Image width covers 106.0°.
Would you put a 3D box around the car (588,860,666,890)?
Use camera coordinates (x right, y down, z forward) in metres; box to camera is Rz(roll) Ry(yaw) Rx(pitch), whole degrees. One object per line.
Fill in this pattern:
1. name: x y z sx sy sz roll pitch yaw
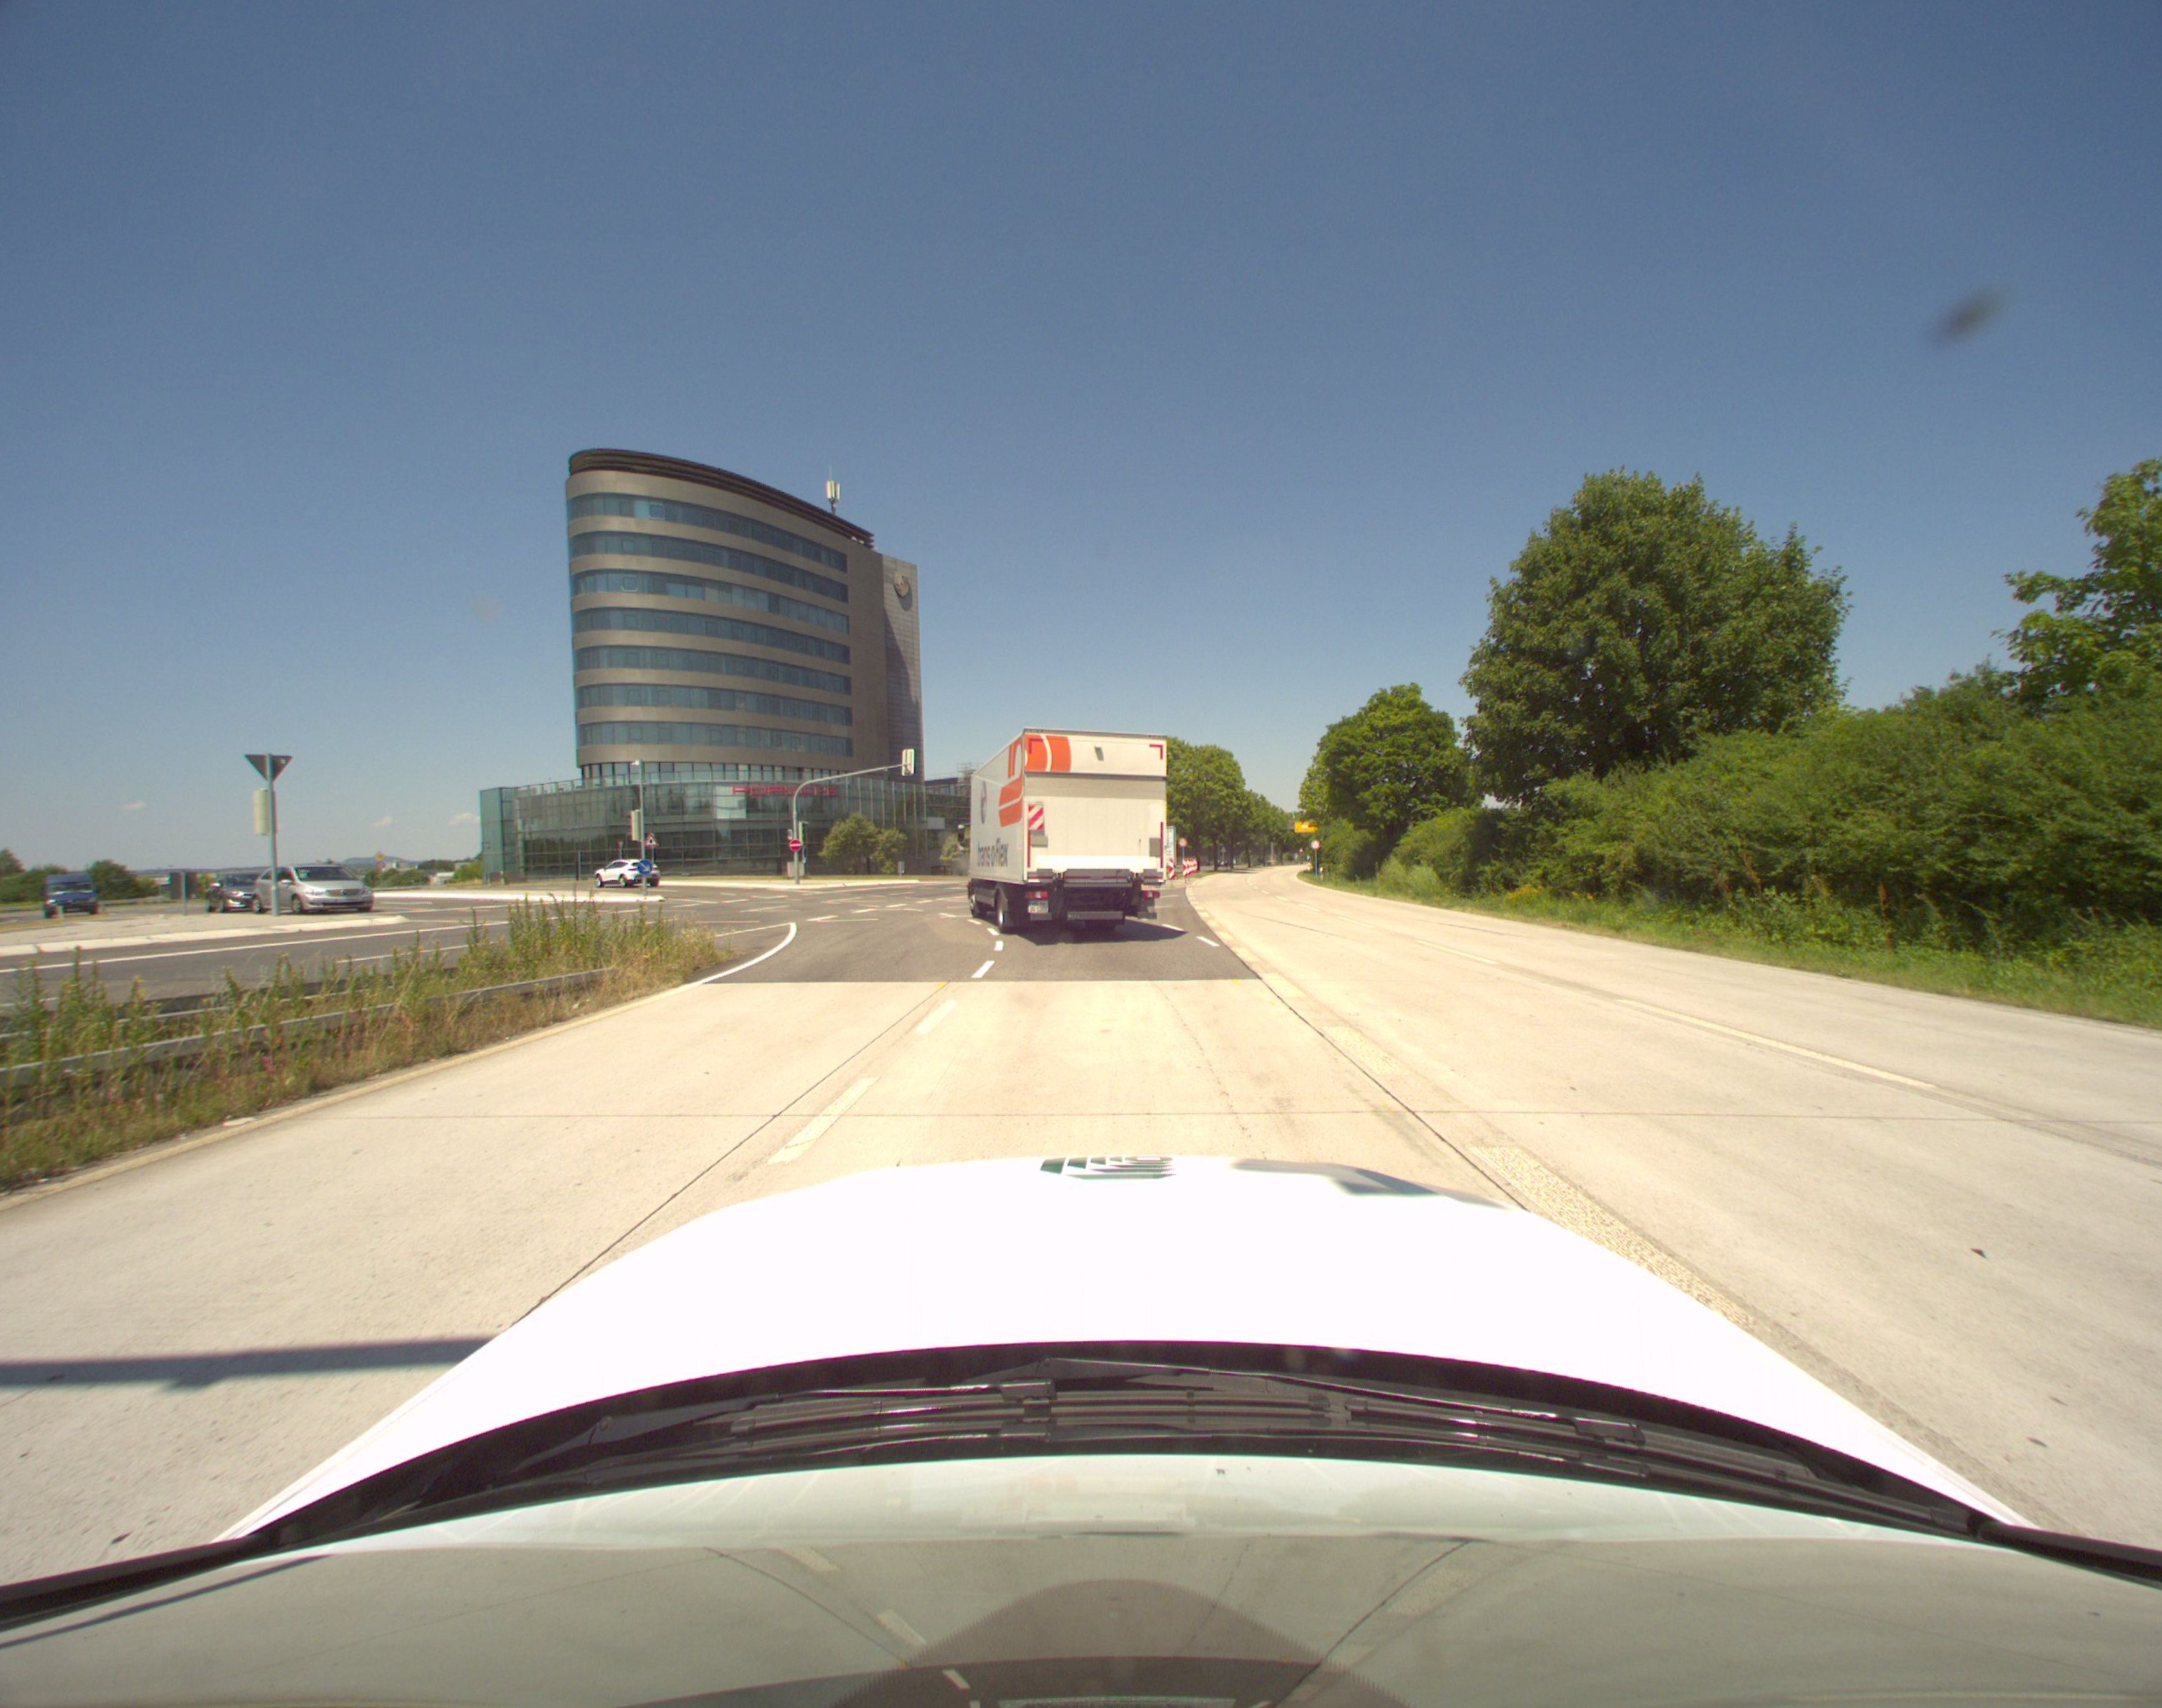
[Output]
1. car: -24.335 1.102 43.608 3.949 1.557 1.819 -1 -1 29

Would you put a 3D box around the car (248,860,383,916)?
1. car: -24.549 1.097 26.107 4.275 1.595 1.787 -3 -2 27

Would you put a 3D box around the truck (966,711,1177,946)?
1. truck: -0.767 -0.374 18.274 2.773 3.860 9.326 0 -1 -13

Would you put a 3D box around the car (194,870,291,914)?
1. car: -31.140 1.418 30.216 4.273 1.456 1.708 -3 -2 33

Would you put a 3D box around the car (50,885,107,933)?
1. car: -62.094 3.318 50.395 5.820 2.704 2.079 -1 -1 38
